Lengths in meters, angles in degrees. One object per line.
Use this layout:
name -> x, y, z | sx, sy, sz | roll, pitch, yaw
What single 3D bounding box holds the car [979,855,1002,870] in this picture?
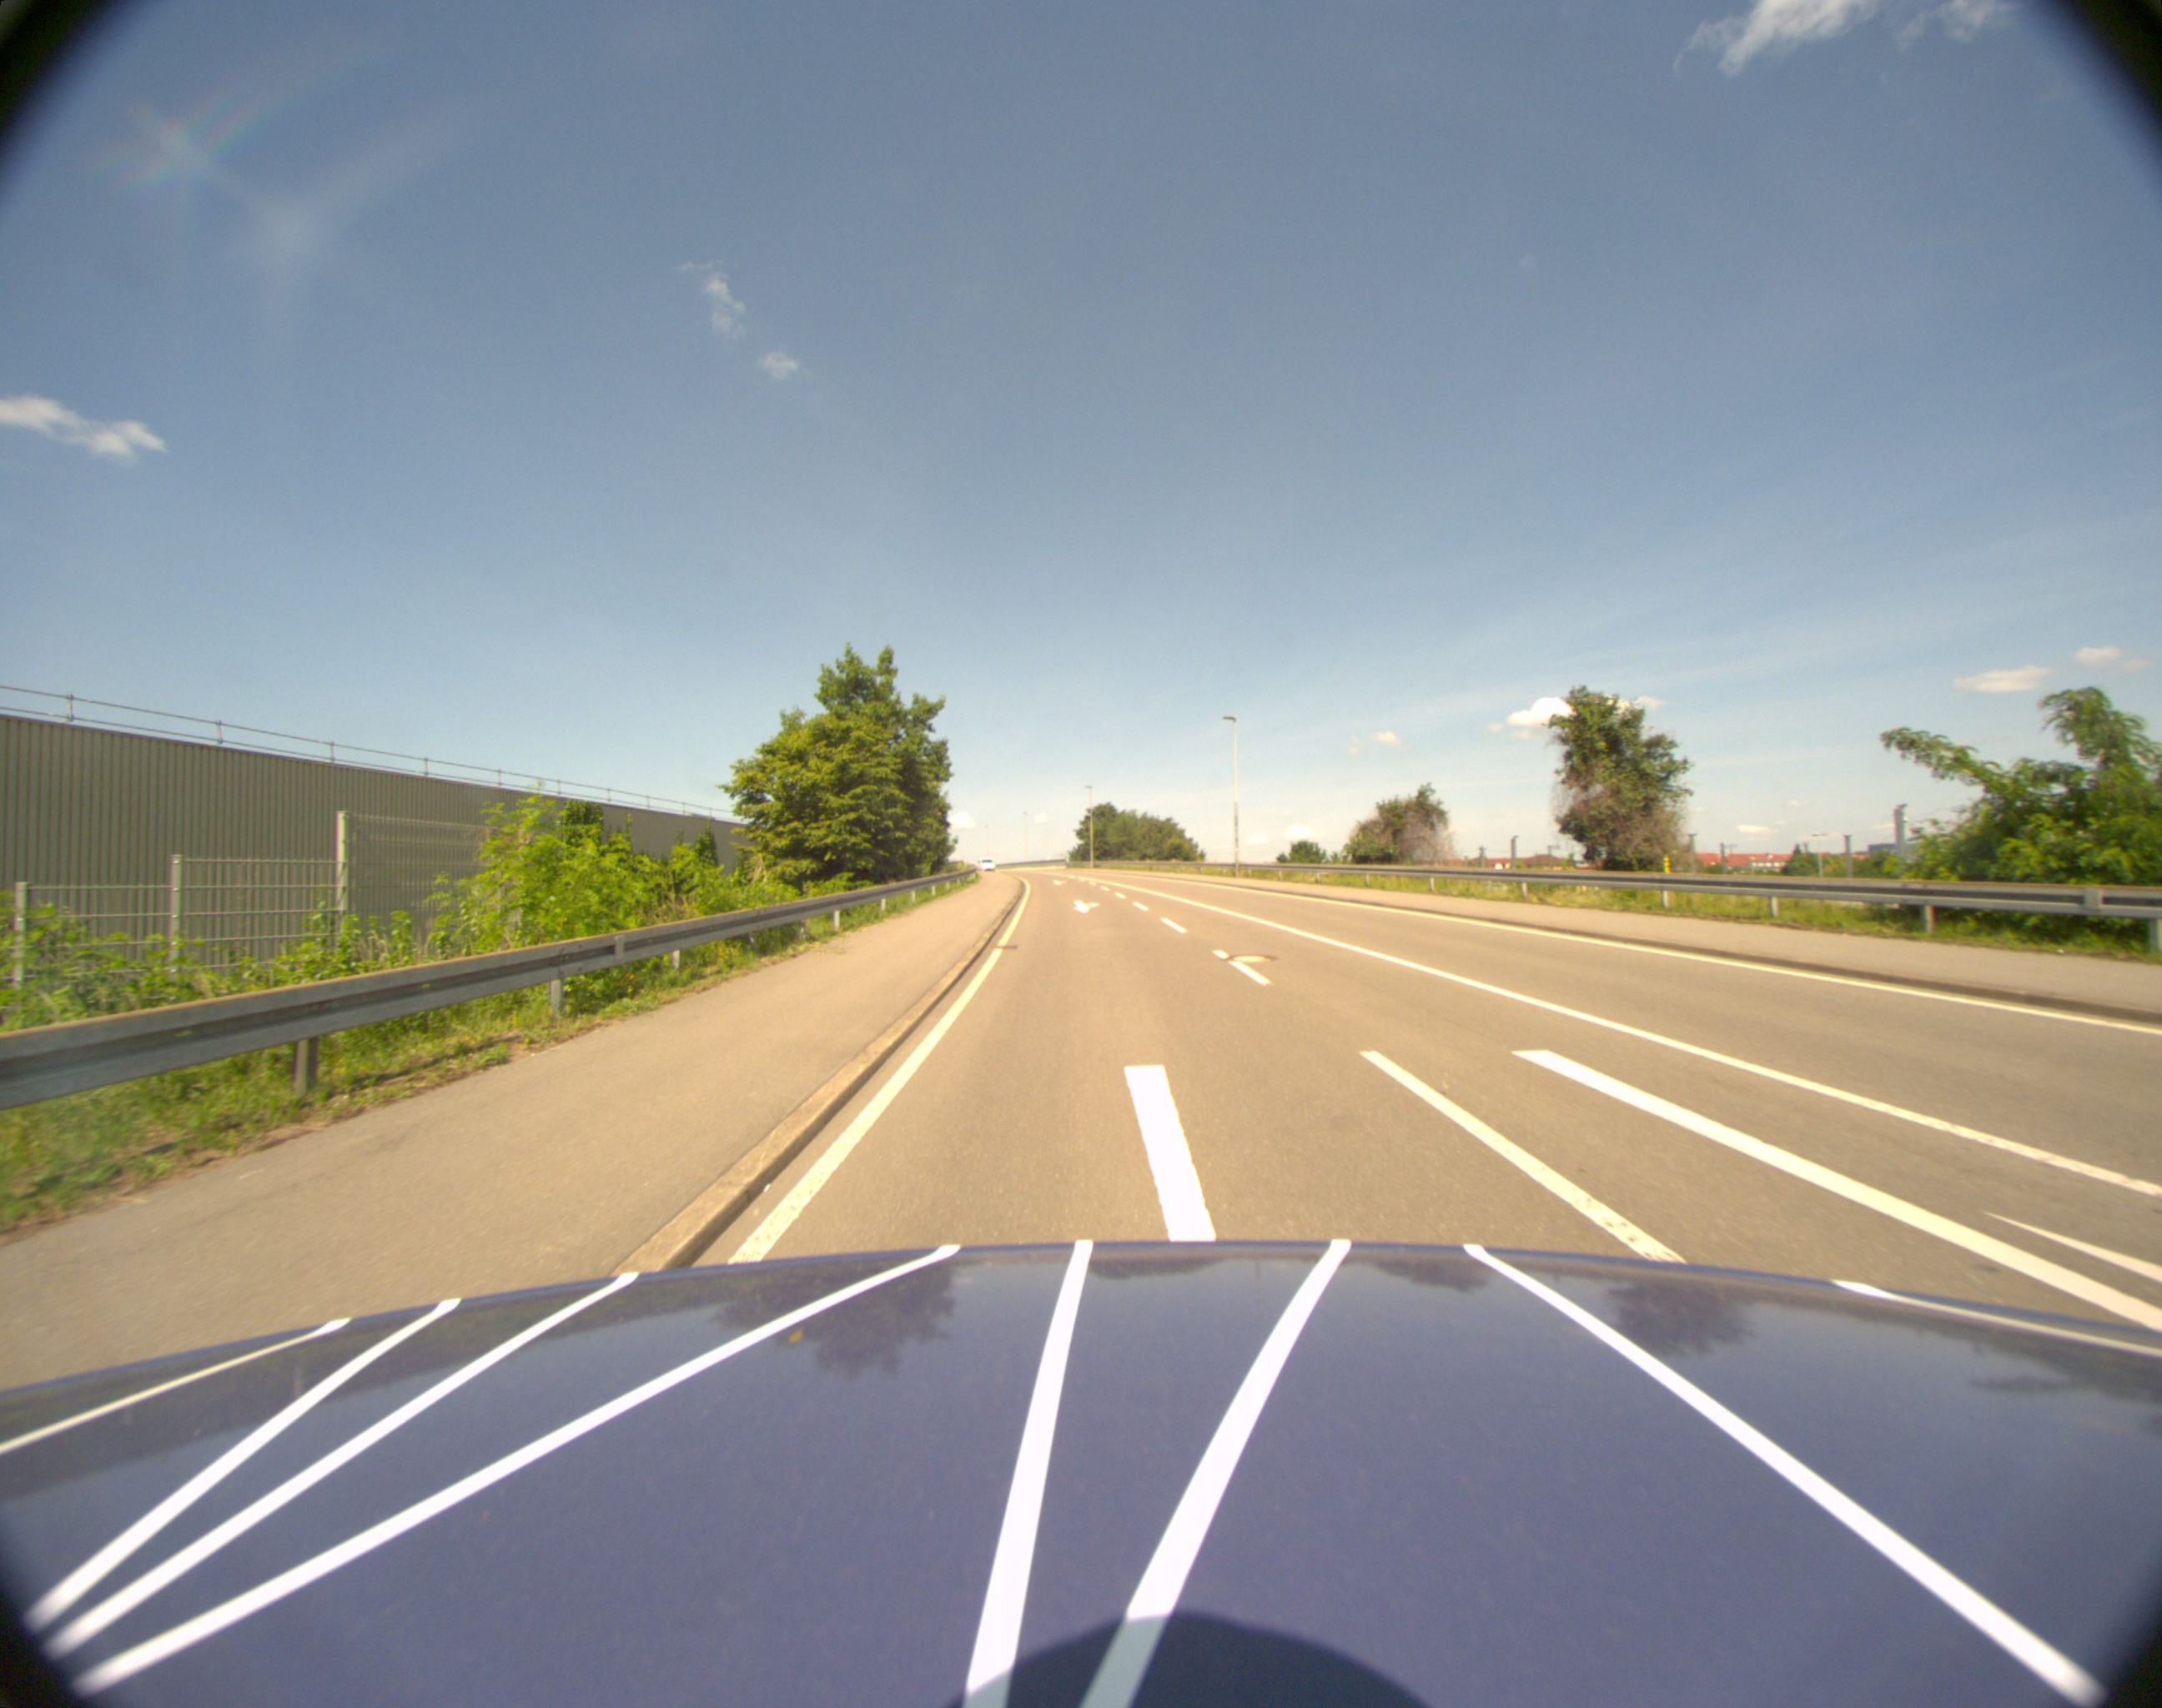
car -> -11.927, 1.154, 100.046 | 2.096, 1.750, 4.277 | -4, 0, -19
